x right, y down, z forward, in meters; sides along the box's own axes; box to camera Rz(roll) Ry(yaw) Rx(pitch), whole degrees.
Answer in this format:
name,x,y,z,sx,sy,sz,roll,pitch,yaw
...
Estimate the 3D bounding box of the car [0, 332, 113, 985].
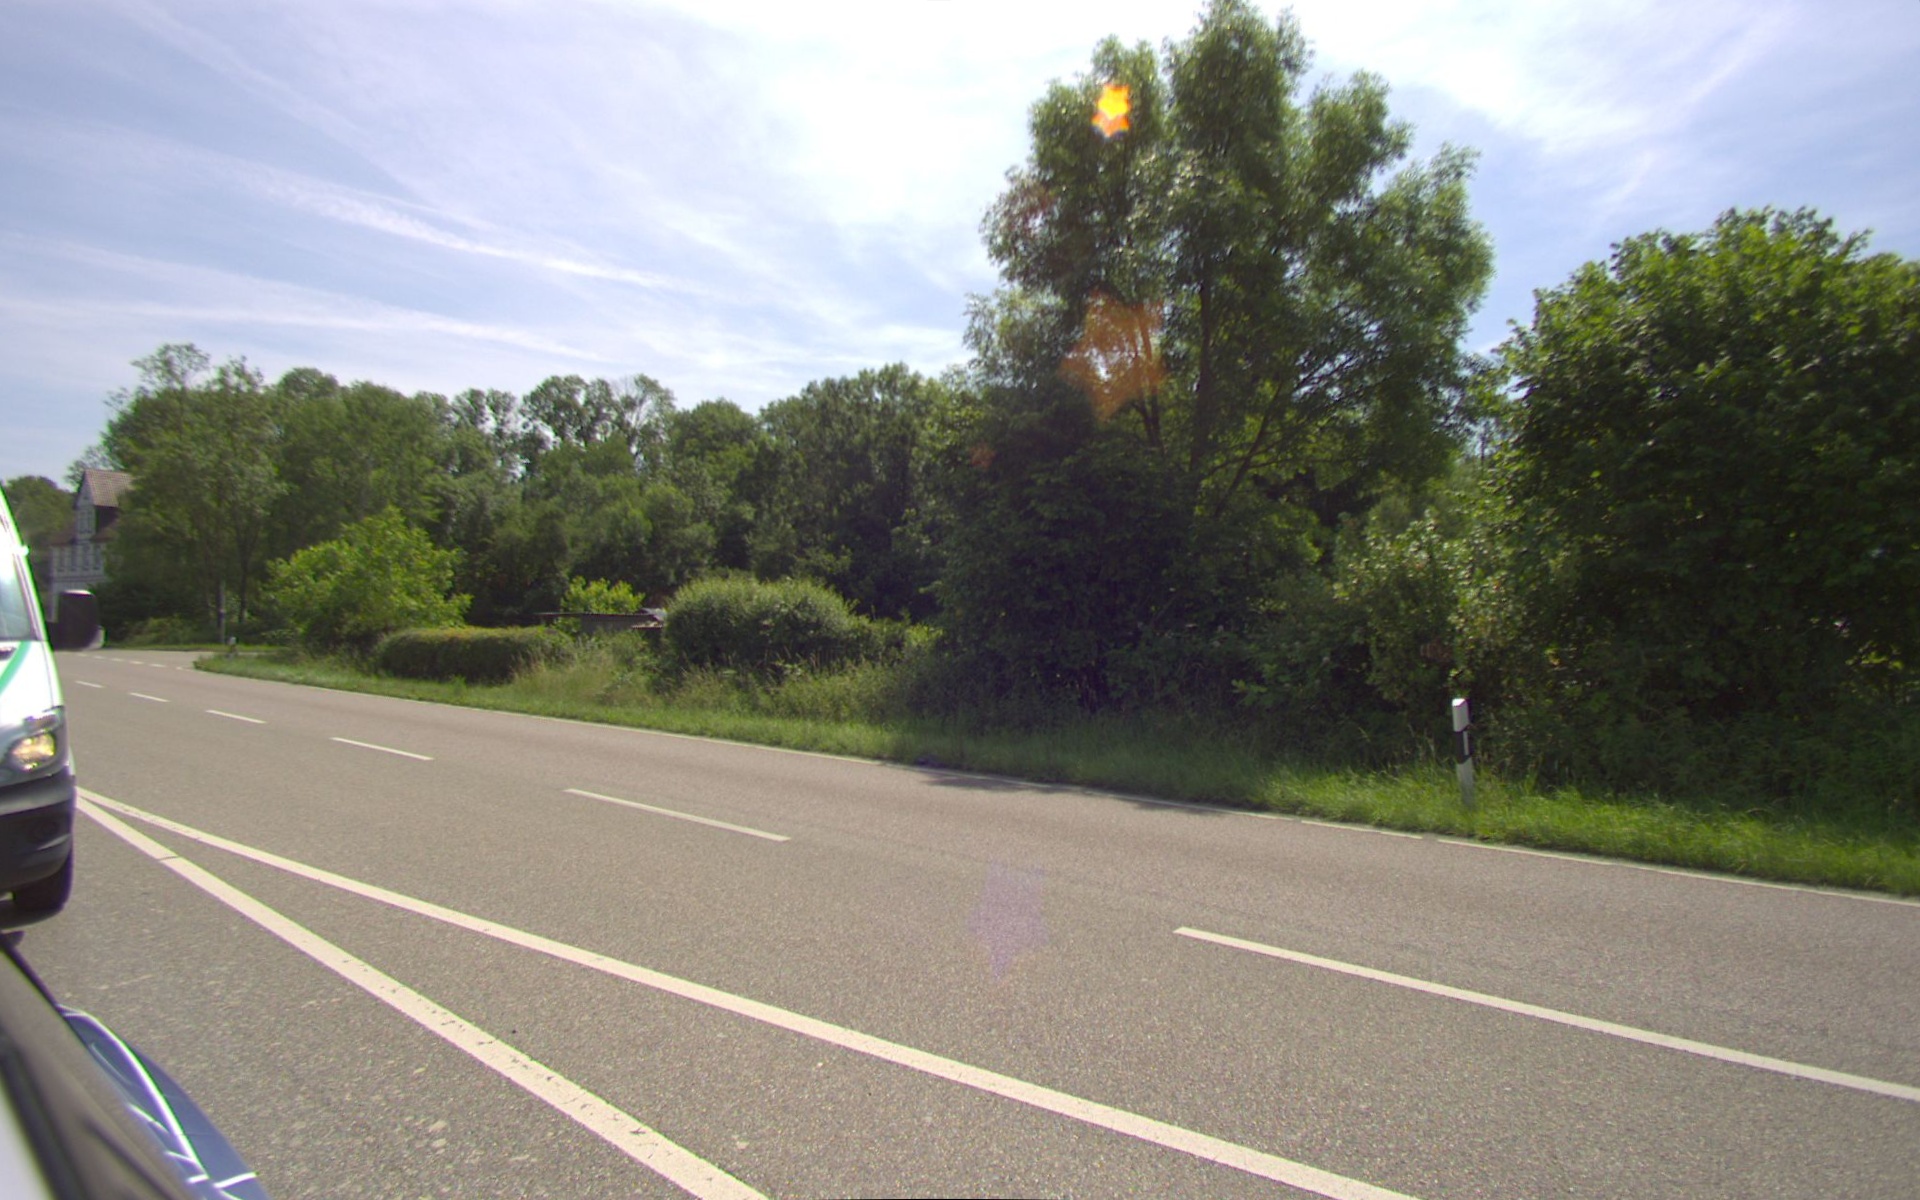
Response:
name,x,y,z,sx,sy,sz,roll,pitch,yaw
car,-6.538,0.277,5.476,5.674,2.691,1.937,-1,-1,39
